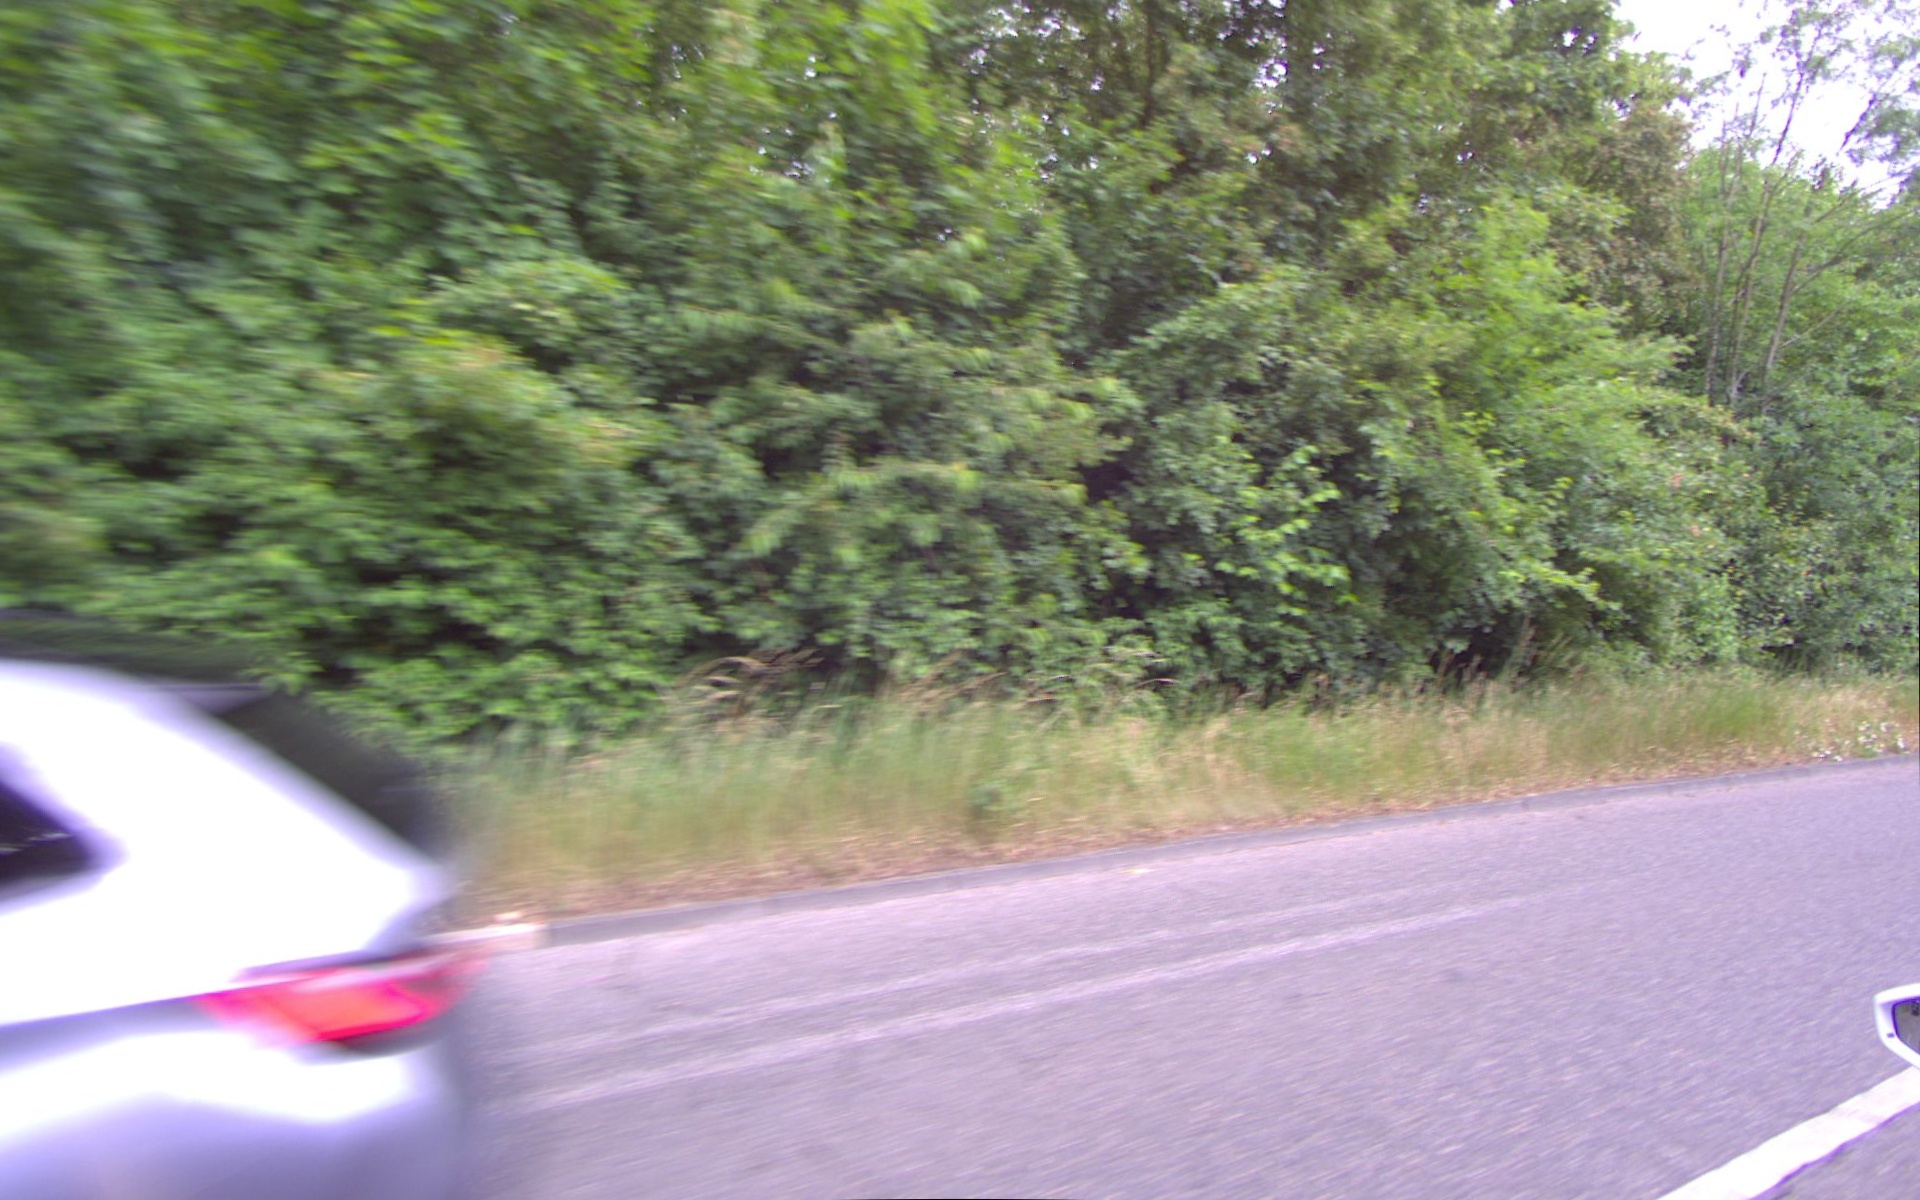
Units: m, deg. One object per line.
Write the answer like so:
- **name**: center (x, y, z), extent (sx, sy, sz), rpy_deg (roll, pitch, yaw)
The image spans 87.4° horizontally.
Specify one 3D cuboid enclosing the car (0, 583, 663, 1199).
- **car**: center (-2.992, 0.629, 1.087), extent (4.789, 1.372, 1.888), rpy_deg (2, 0, -32)
